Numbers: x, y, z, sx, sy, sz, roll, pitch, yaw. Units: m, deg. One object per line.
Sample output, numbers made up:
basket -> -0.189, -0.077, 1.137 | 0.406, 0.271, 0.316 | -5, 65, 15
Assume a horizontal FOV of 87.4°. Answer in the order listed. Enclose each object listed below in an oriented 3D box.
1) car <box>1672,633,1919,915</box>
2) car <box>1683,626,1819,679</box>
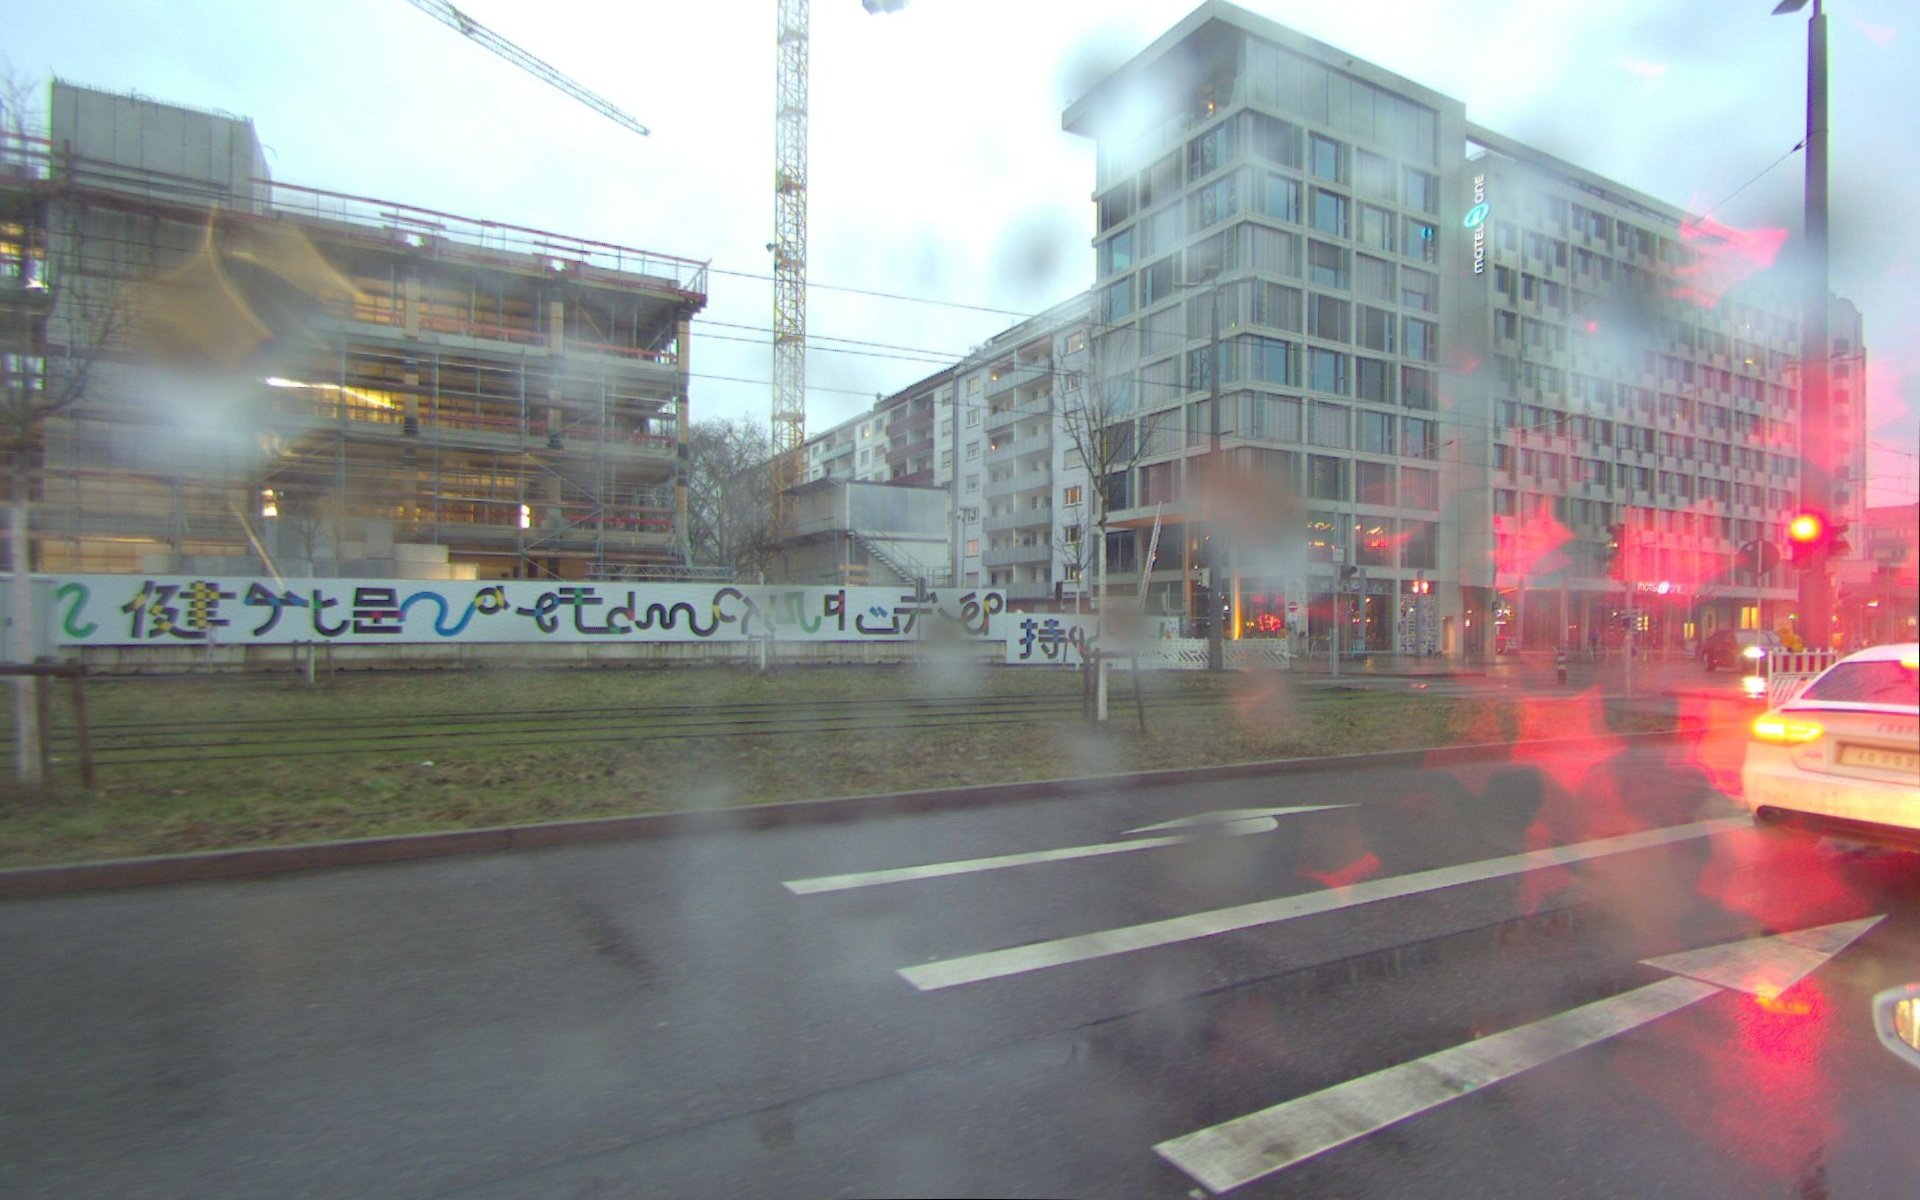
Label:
car -> 6.862, 0.980, 6.695 | 4.320, 1.475, 1.983 | 1, -1, -32
car -> 26.558, 1.708, 33.931 | 1.727, 1.550, 4.329 | 2, 0, 10
